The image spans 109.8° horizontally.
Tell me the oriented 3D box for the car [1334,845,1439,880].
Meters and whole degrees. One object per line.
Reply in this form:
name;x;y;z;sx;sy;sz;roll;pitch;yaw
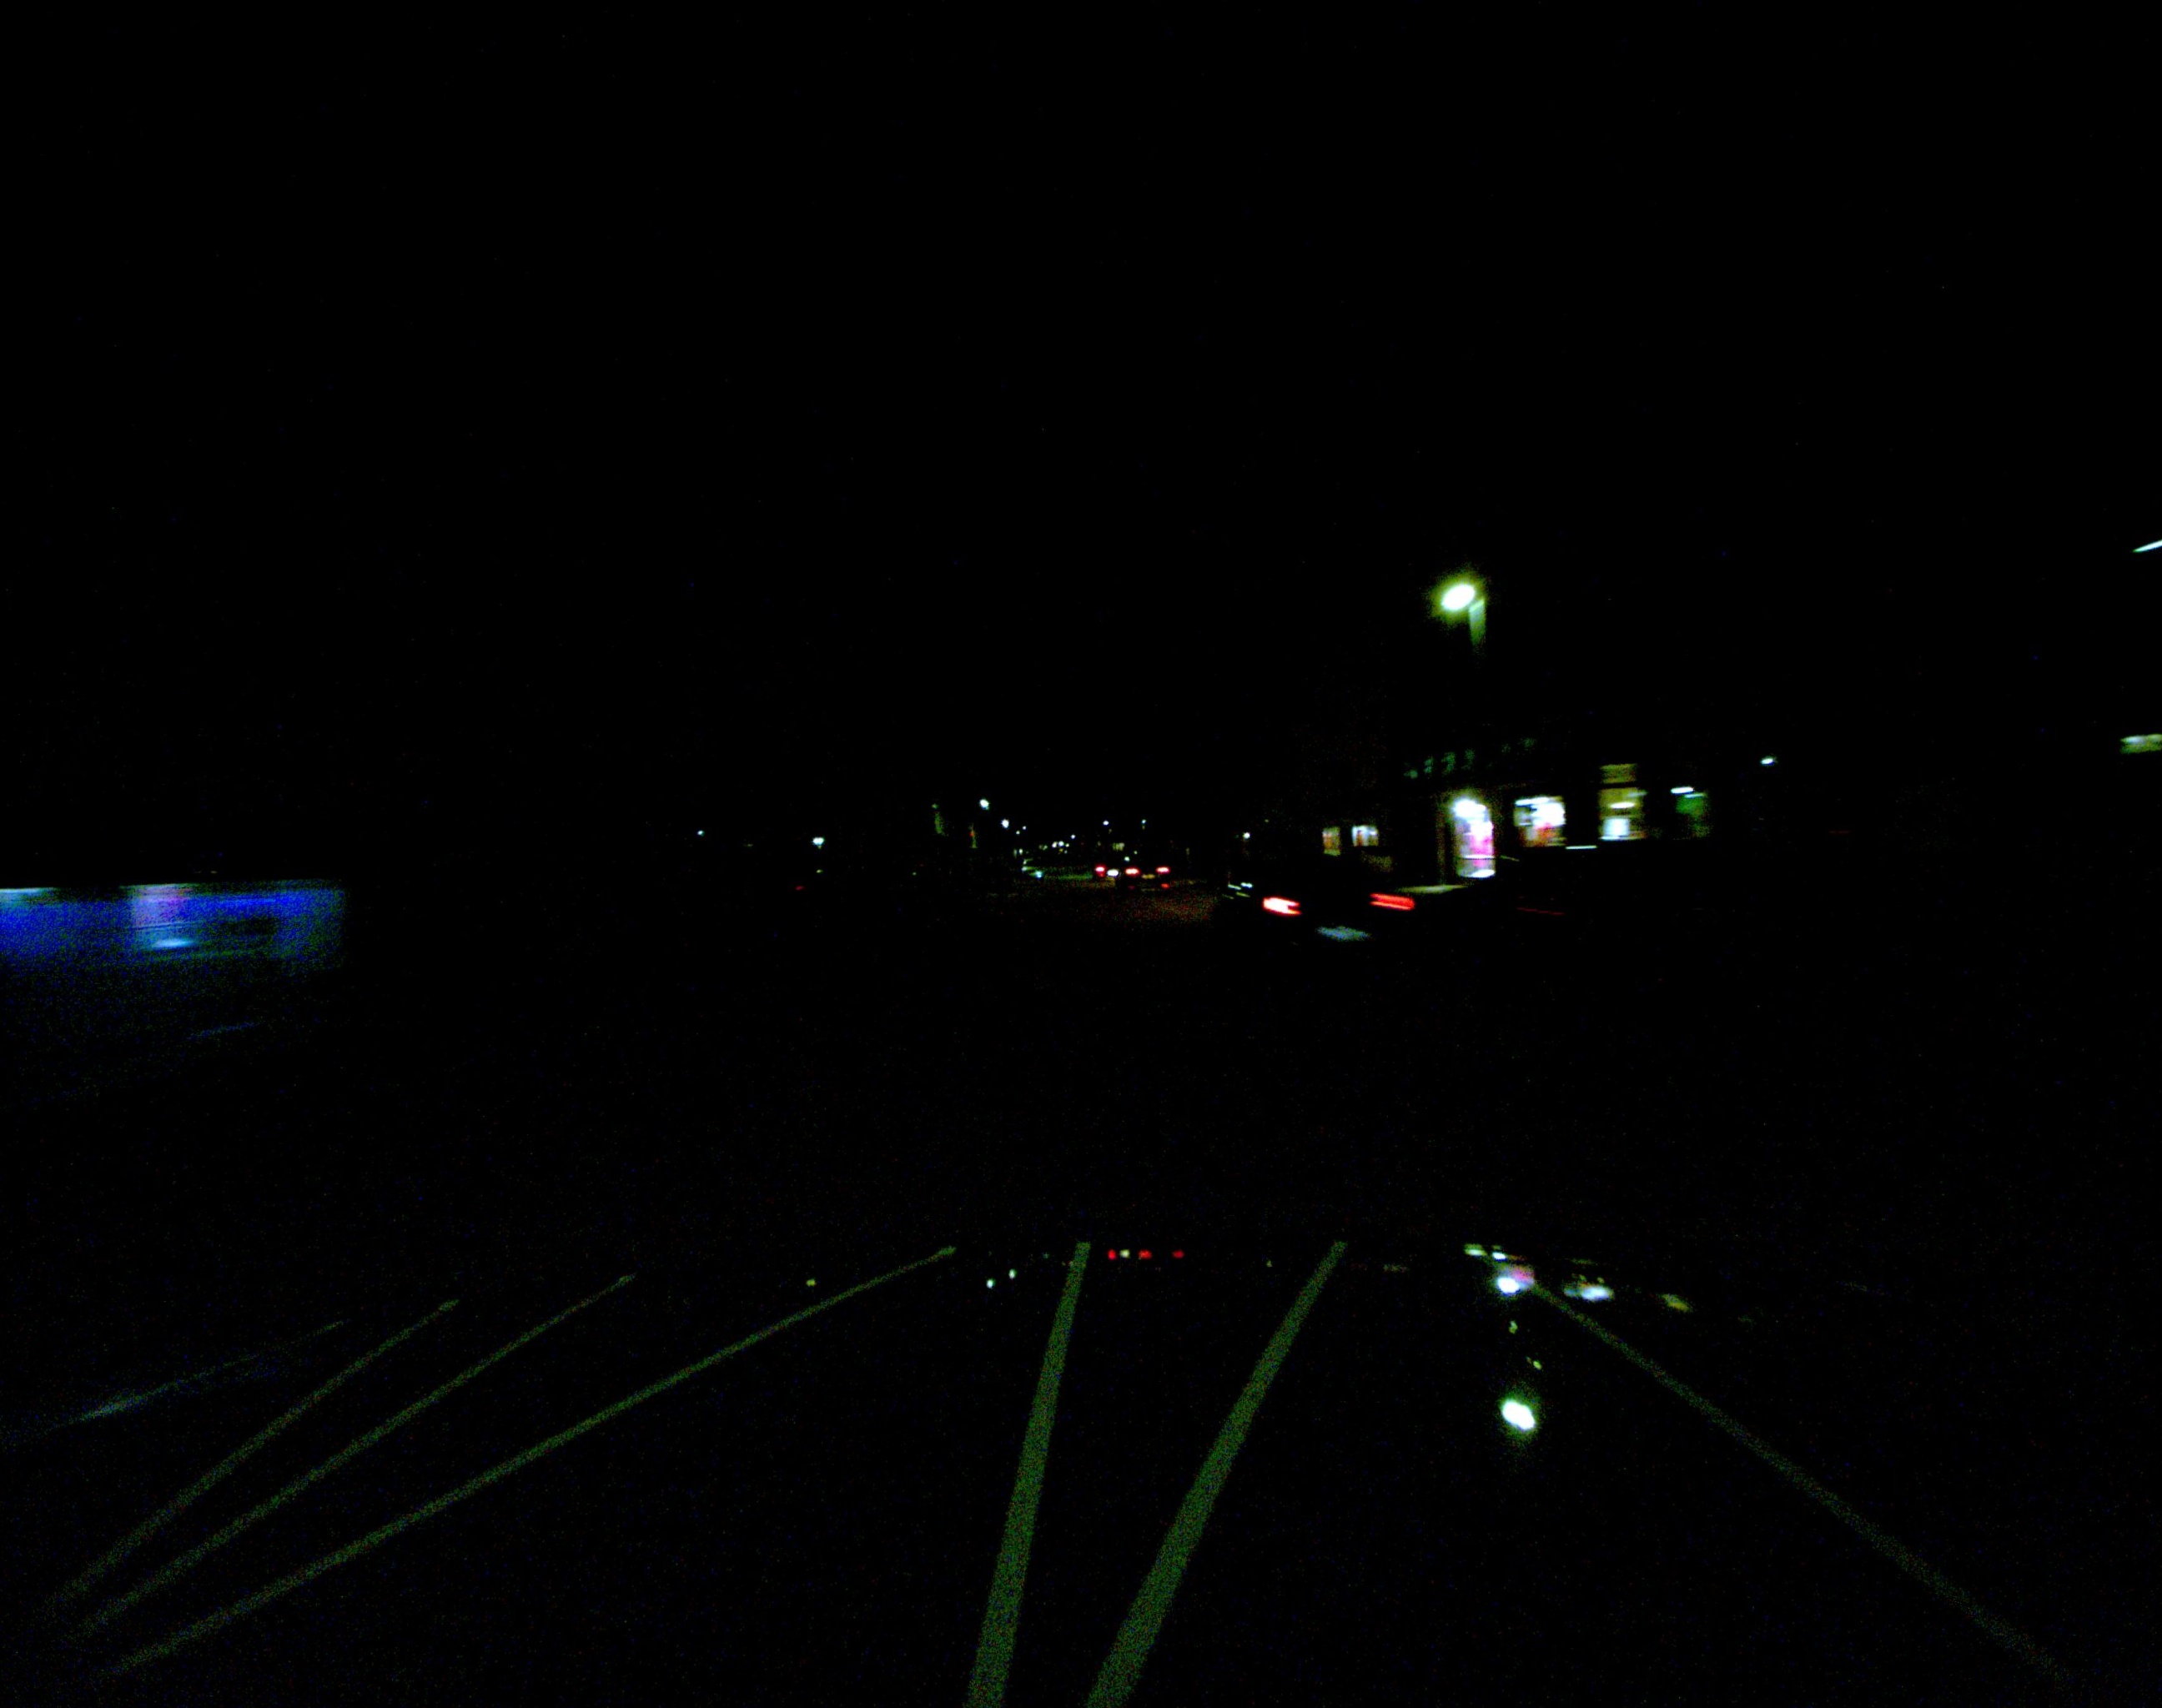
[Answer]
car;13.076;0.356;32.642;3.833;1.408;1.653;-1;0;1

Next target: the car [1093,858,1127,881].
car;1.694;0.918;46.156;1.822;1.271;3.916;-2;0;-1

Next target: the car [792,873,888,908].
car;-9.817;1.478;31.187;3.403;1.275;1.644;2;0;-3

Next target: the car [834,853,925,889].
car;-9.668;0.803;36.690;3.916;1.578;1.644;2;0;-3

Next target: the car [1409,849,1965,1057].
car;5.520;0.728;8.044;1.901;1.411;4.930;-4;0;0

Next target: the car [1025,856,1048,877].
car;-3.266;0.903;56.354;1.606;1.474;3.698;-2;0;-3

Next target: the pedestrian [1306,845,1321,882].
pedestrian;10.056;0.418;32.895;0.528;1.579;0.667;-2;1;22

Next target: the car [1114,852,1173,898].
car;2.405;0.762;30.090;1.752;1.635;4.306;-2;0;-3

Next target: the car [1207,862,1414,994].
car;2.957;0.872;10.648;1.721;1.419;3.815;-2;0;0

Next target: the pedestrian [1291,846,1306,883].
pedestrian;9.489;0.435;33.145;0.528;1.579;0.667;-2;1;22

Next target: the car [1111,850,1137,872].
car;3.487;0.552;62.164;1.814;1.637;3.803;-4;0;-1
